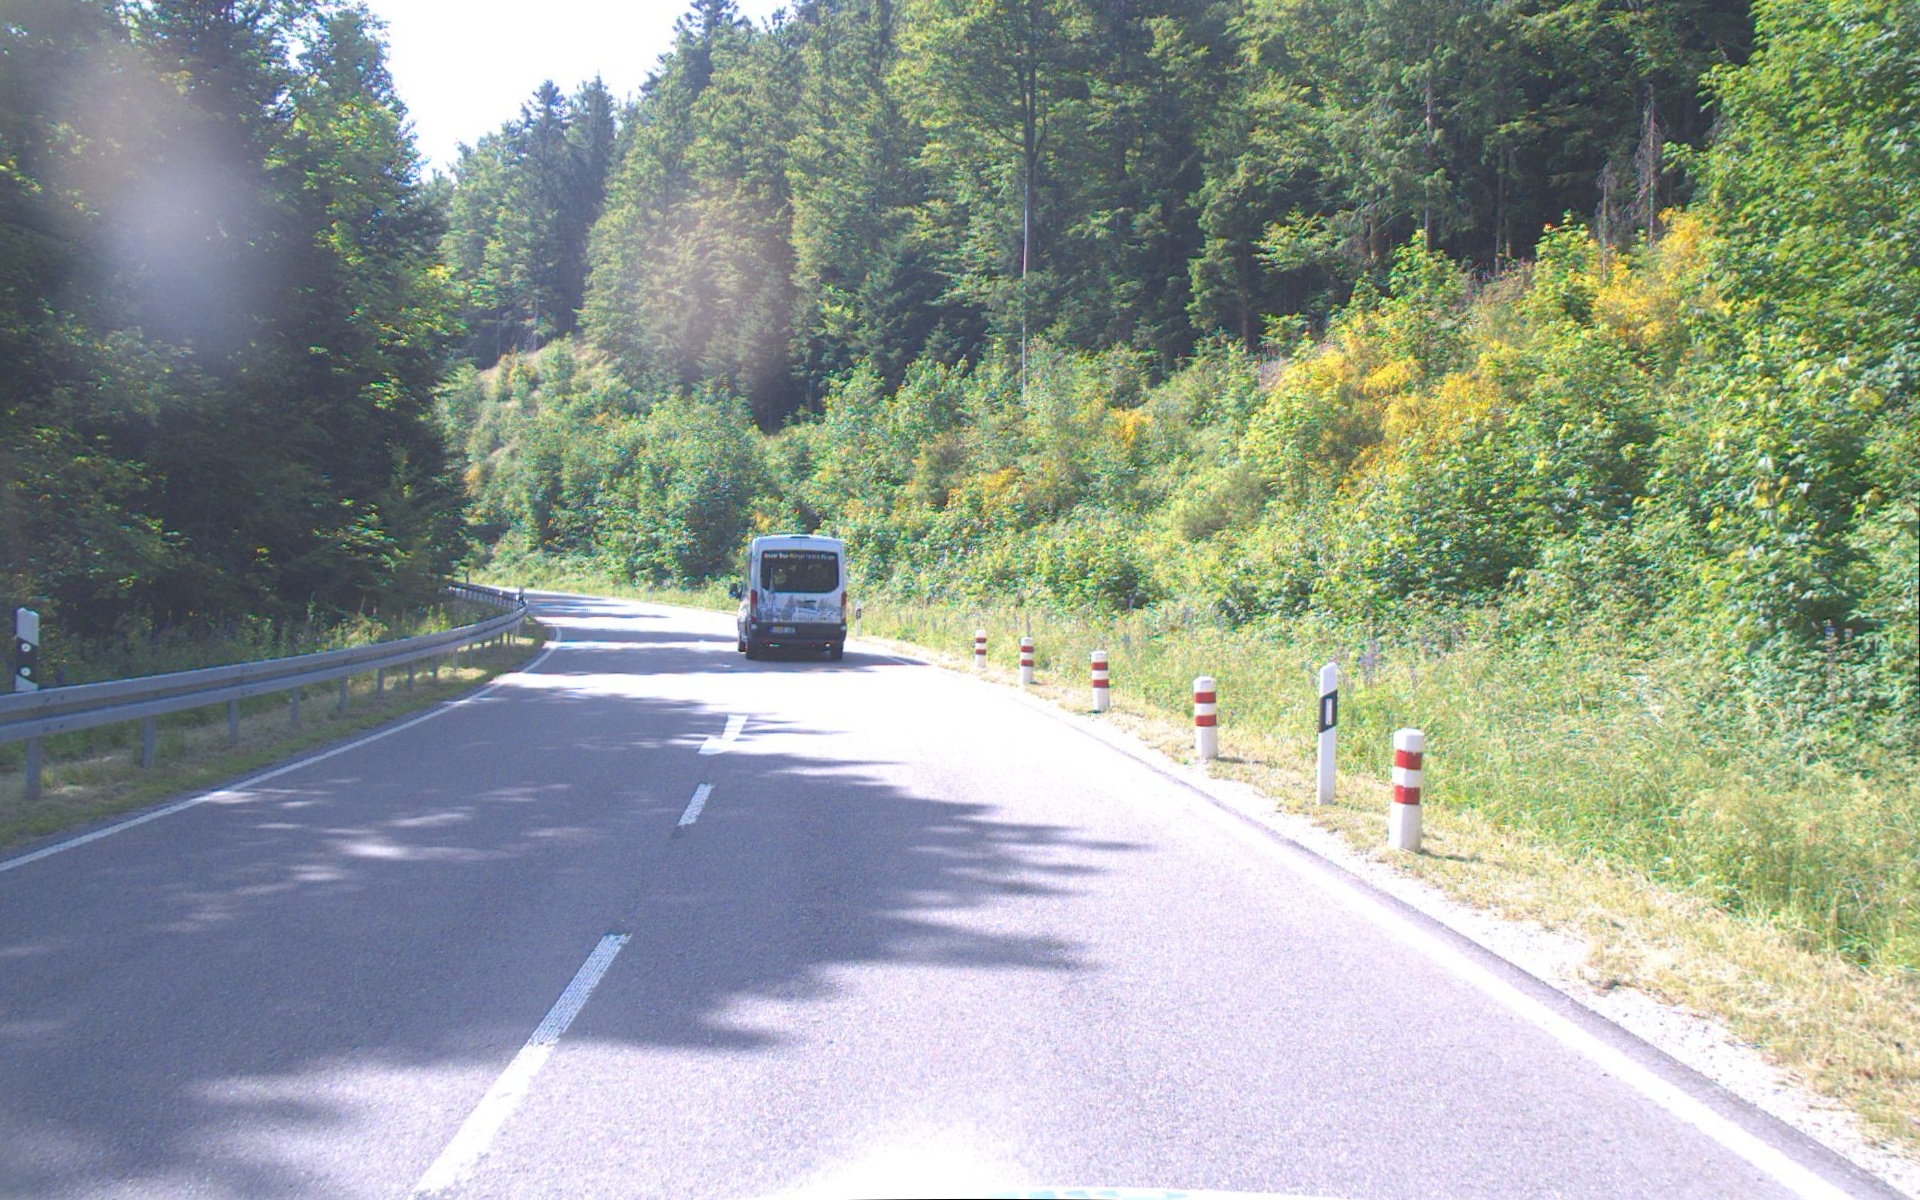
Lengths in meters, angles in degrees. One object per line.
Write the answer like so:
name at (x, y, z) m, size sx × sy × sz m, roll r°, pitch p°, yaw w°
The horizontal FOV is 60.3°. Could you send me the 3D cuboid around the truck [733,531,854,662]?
truck at (-3.624, -0.104, 35.136) m, size 2.078 × 2.542 × 5.345 m, roll 0°, pitch 1°, yaw -11°
